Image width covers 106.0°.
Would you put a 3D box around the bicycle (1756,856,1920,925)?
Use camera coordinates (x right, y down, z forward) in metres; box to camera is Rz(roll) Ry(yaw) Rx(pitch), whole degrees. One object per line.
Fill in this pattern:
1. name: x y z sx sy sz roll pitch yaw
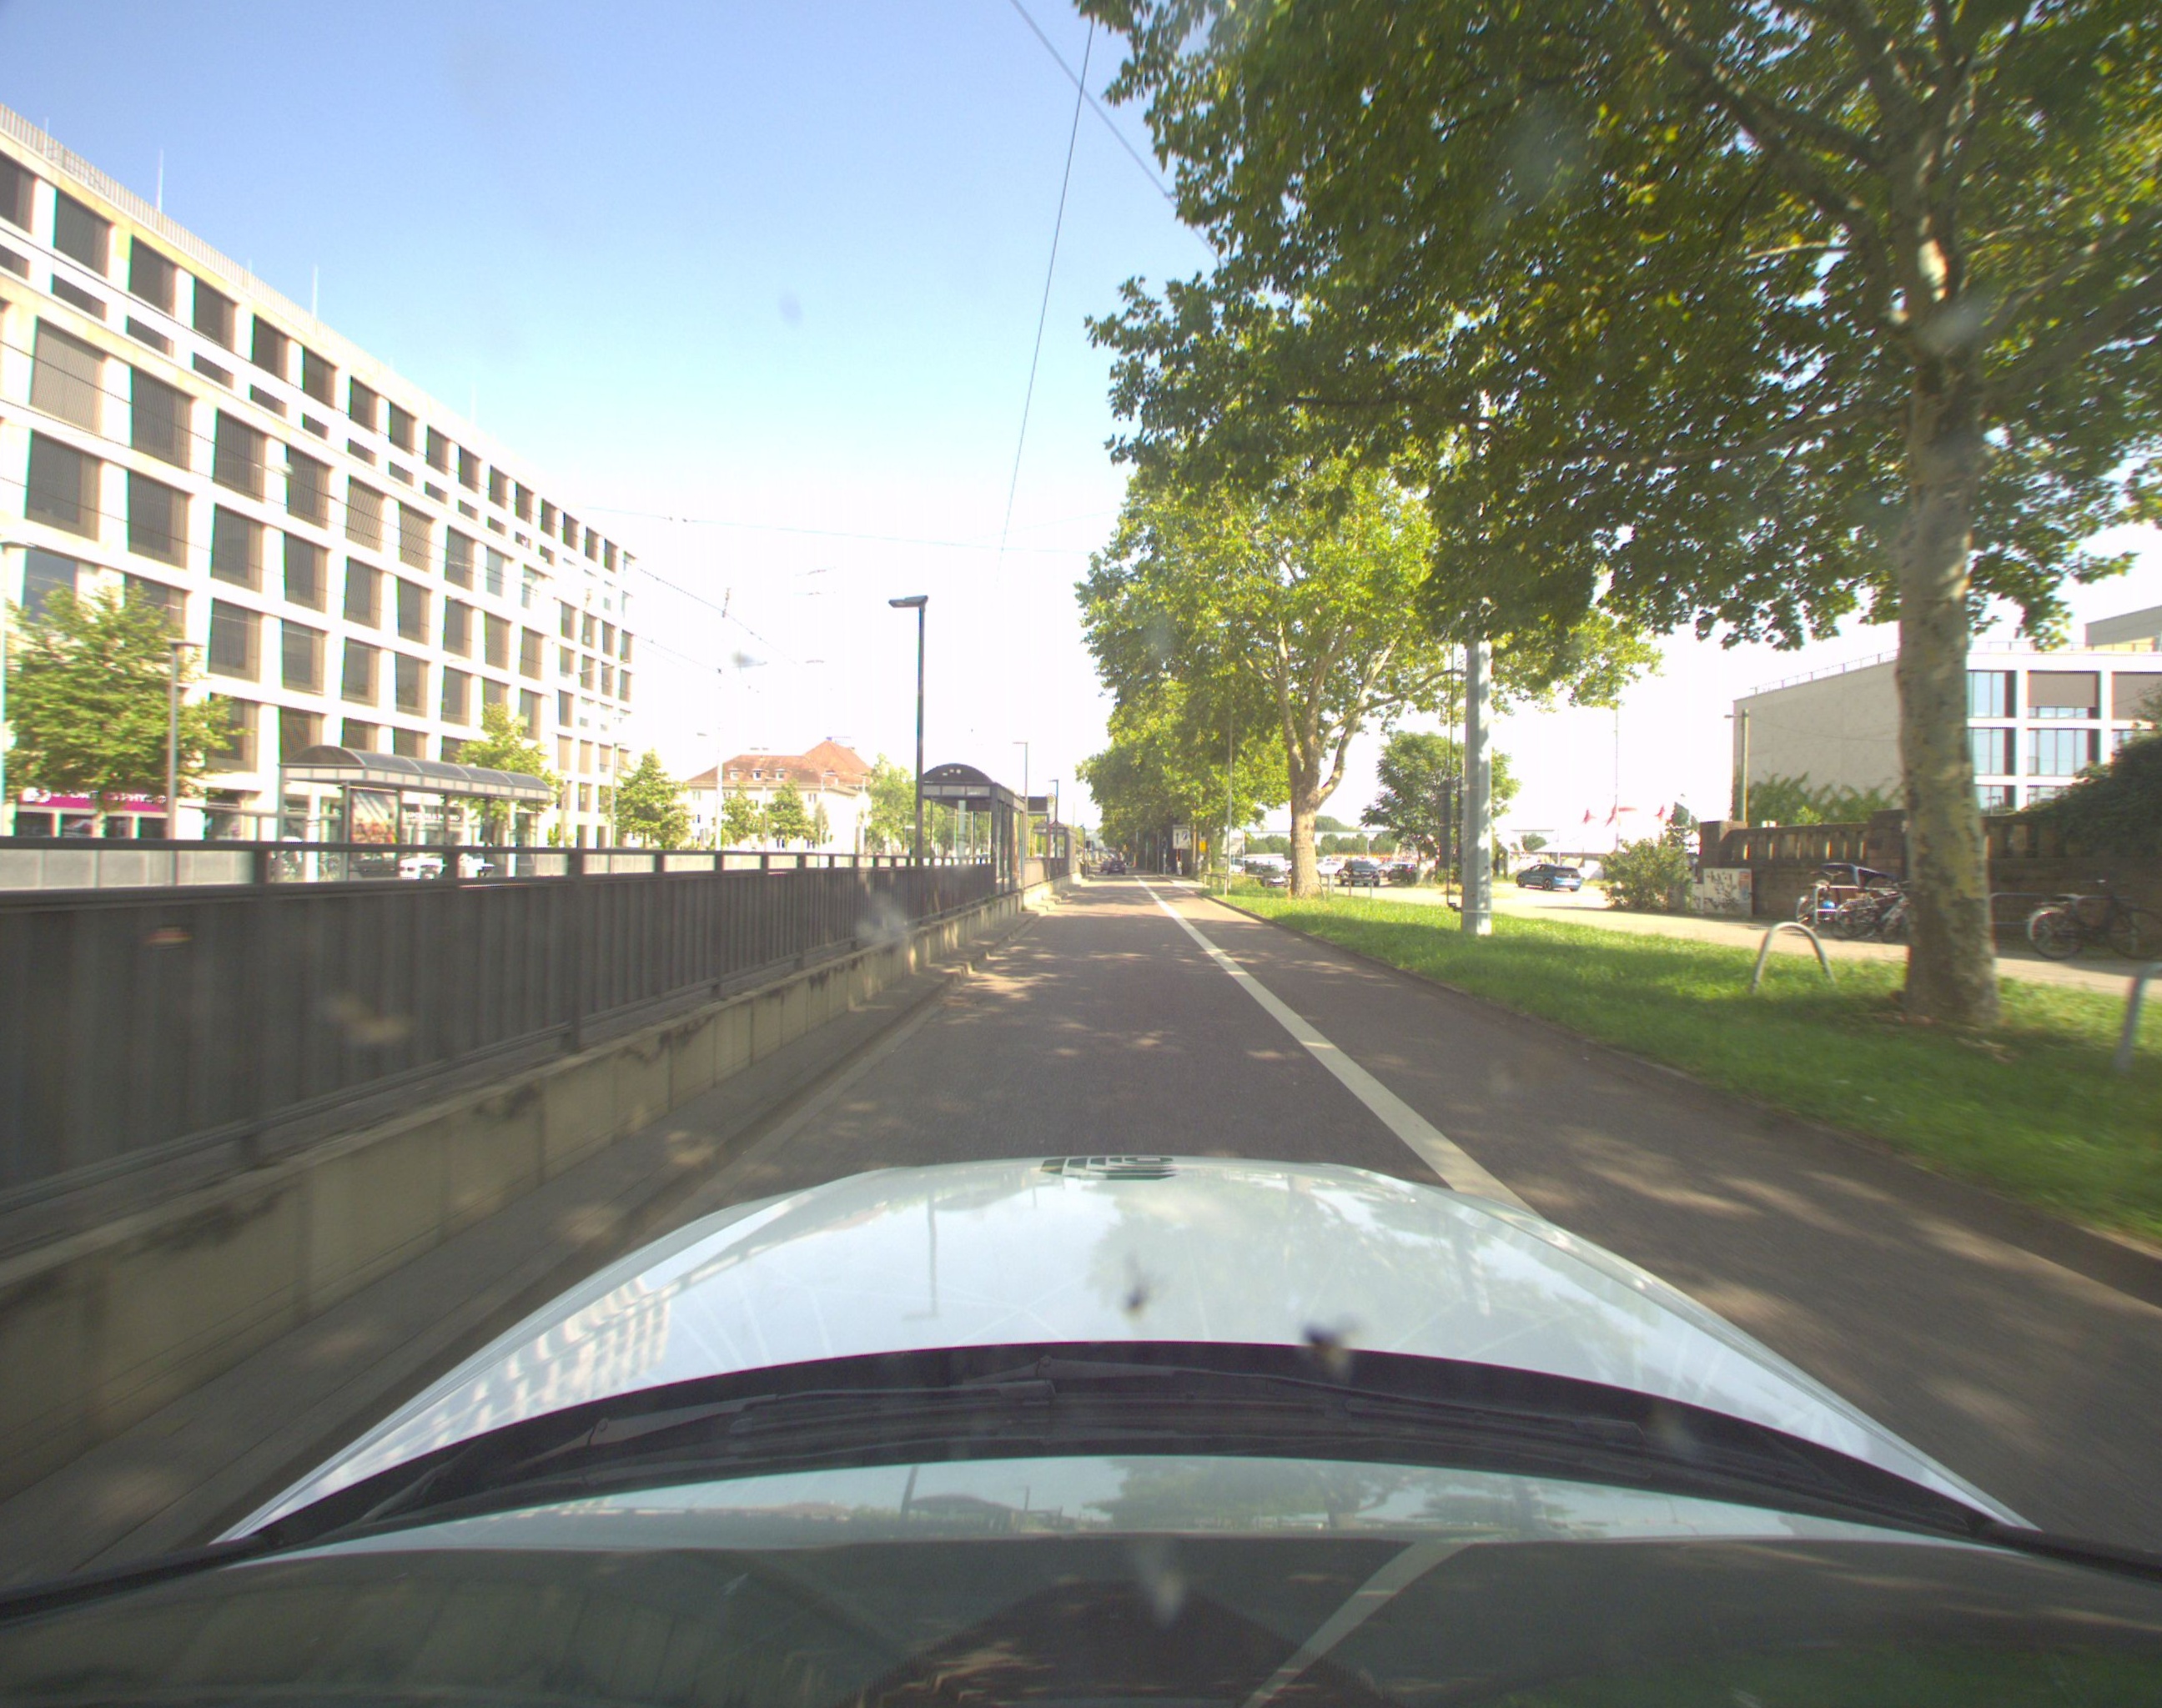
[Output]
1. bicycle: 14.827 0.704 16.011 2.236 1.277 0.999 -1 -1 1

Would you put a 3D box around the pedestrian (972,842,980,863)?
1. pedestrian: -9.009 -0.116 69.856 0.707 1.821 0.771 -1 -2 -8

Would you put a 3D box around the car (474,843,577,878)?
1. car: -24.170 0.280 35.626 1.705 1.446 4.008 0 0 0

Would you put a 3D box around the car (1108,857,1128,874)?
1. car: 3.575 1.110 79.348 1.900 1.537 4.001 -1 0 1

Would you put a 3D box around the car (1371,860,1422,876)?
1. car: 31.023 1.366 80.166 4.370 1.464 1.950 1 0 5

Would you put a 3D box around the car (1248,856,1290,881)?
1. car: 11.596 0.857 50.552 1.721 1.448 4.553 0 0 2

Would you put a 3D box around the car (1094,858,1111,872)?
1. car: 2.621 1.347 99.143 1.966 1.537 4.001 -3 0 1

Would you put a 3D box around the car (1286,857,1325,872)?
1. car: 27.445 1.232 99.621 4.330 1.712 1.947 2 -1 0

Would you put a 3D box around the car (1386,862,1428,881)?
1. car: 25.623 1.341 64.149 1.807 1.395 4.118 1 0 2

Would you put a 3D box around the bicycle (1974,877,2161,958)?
1. bicycle: 14.080 0.881 11.498 2.166 1.076 0.743 1 0 0

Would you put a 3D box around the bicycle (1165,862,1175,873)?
1. bicycle: 8.669 1.302 79.654 0.608 1.022 2.400 1 0 -2

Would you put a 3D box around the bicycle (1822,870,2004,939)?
1. bicycle: 13.965 0.836 13.714 2.163 1.076 0.744 -1 -1 5

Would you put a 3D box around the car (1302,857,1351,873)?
1. car: 24.787 1.133 82.366 4.330 1.464 1.947 2 -1 0

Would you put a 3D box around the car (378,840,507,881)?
1. car: -24.038 0.226 30.871 1.705 1.446 4.008 0 0 0

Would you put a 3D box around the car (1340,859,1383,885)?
1. car: 17.772 1.109 51.750 1.601 1.575 3.798 0 0 2

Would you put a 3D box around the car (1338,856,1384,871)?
1. car: 30.439 1.060 88.614 4.330 1.464 1.947 2 -1 0

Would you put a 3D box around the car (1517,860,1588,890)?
1. car: 27.788 1.194 48.101 1.700 1.575 3.952 2 0 -4

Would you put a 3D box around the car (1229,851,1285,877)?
1. car: 13.846 0.778 64.081 4.084 1.918 1.850 -1 0 4

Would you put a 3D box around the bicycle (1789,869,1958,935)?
1. bicycle: 14.087 0.846 14.527 2.163 1.076 0.744 -2 -1 5
